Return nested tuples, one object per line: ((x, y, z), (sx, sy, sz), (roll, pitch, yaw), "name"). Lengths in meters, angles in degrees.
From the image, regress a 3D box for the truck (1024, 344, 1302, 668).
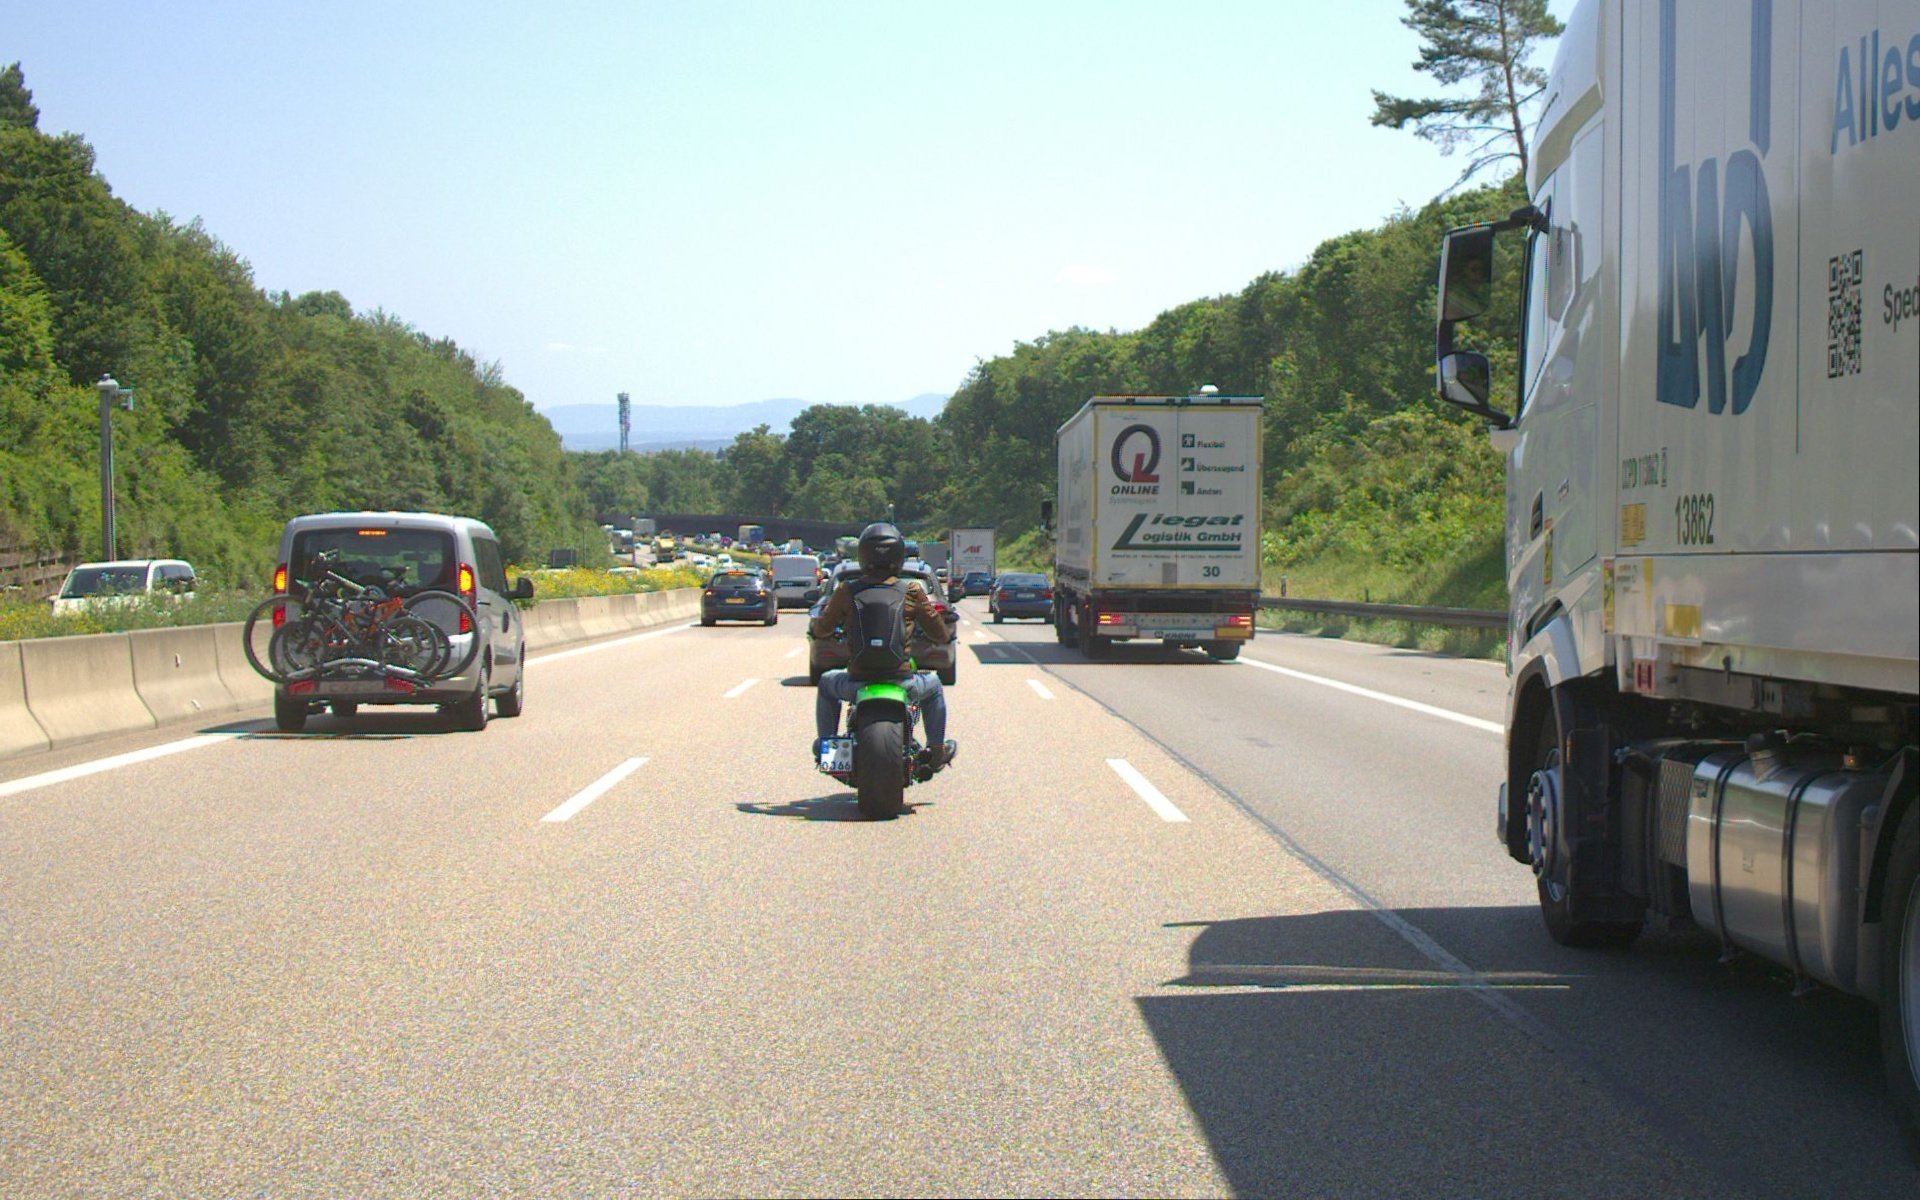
((3.170, -1.615, 59.791), (3.383, 4.701, 17.710), (2, 1, -1), "truck")

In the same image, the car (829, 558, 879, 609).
((-4.025, -0.656, 131.443), (1.831, 1.804, 4.120), (1, 2, -1), "car")

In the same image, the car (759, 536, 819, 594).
((-5.567, -1.166, 112.453), (1.831, 1.804, 4.120), (1, 2, -1), "car")

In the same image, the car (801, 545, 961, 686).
((-0.971, 0.143, 42.405), (1.845, 1.552, 4.440), (1, 2, -1), "car")

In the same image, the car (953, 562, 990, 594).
((0.603, -1.195, 183.720), (1.831, 1.553, 4.120), (1, 2, -1), "car")

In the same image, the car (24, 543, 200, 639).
((-15.192, -0.191, 61.866), (1.892, 1.601, 5.077), (0, 1, 0), "car")

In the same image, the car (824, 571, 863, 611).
((-5.641, -0.449, 167.066), (1.831, 1.804, 4.120), (1, 2, -1), "car")

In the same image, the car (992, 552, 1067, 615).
((1.860, -0.466, 93.151), (1.831, 1.553, 4.120), (1, 2, -1), "car")

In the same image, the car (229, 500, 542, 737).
((-4.876, 0.100, 29.933), (1.898, 1.841, 5.483), (1, 1, -1), "car")

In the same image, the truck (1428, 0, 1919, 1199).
((3.509, -0.644, 9.523), (2.680, 4.045, 10.627), (1, 1, -1), "truck")

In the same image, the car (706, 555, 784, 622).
((-5.388, -0.306, 86.612), (1.757, 1.538, 4.395), (1, 2, -1), "car")

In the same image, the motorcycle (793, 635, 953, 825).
((-0.480, 0.723, 19.881), (0.862, 0.978, 2.131), (0, 1, 0), "motorcycle")

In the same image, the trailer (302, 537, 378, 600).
((-21.087, -1.083, 116.989), (1.895, 2.109, 3.495), (-1, 1, 0), "trailer")

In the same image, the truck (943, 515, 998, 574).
((0.588, -3.375, 206.837), (3.067, 3.335, 9.653), (2, 1, -1), "truck")

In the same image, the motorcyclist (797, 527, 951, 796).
((-0.485, 0.339, 19.797), (0.856, 1.510, 0.914), (0, 1, 0), "motorcyclist")
